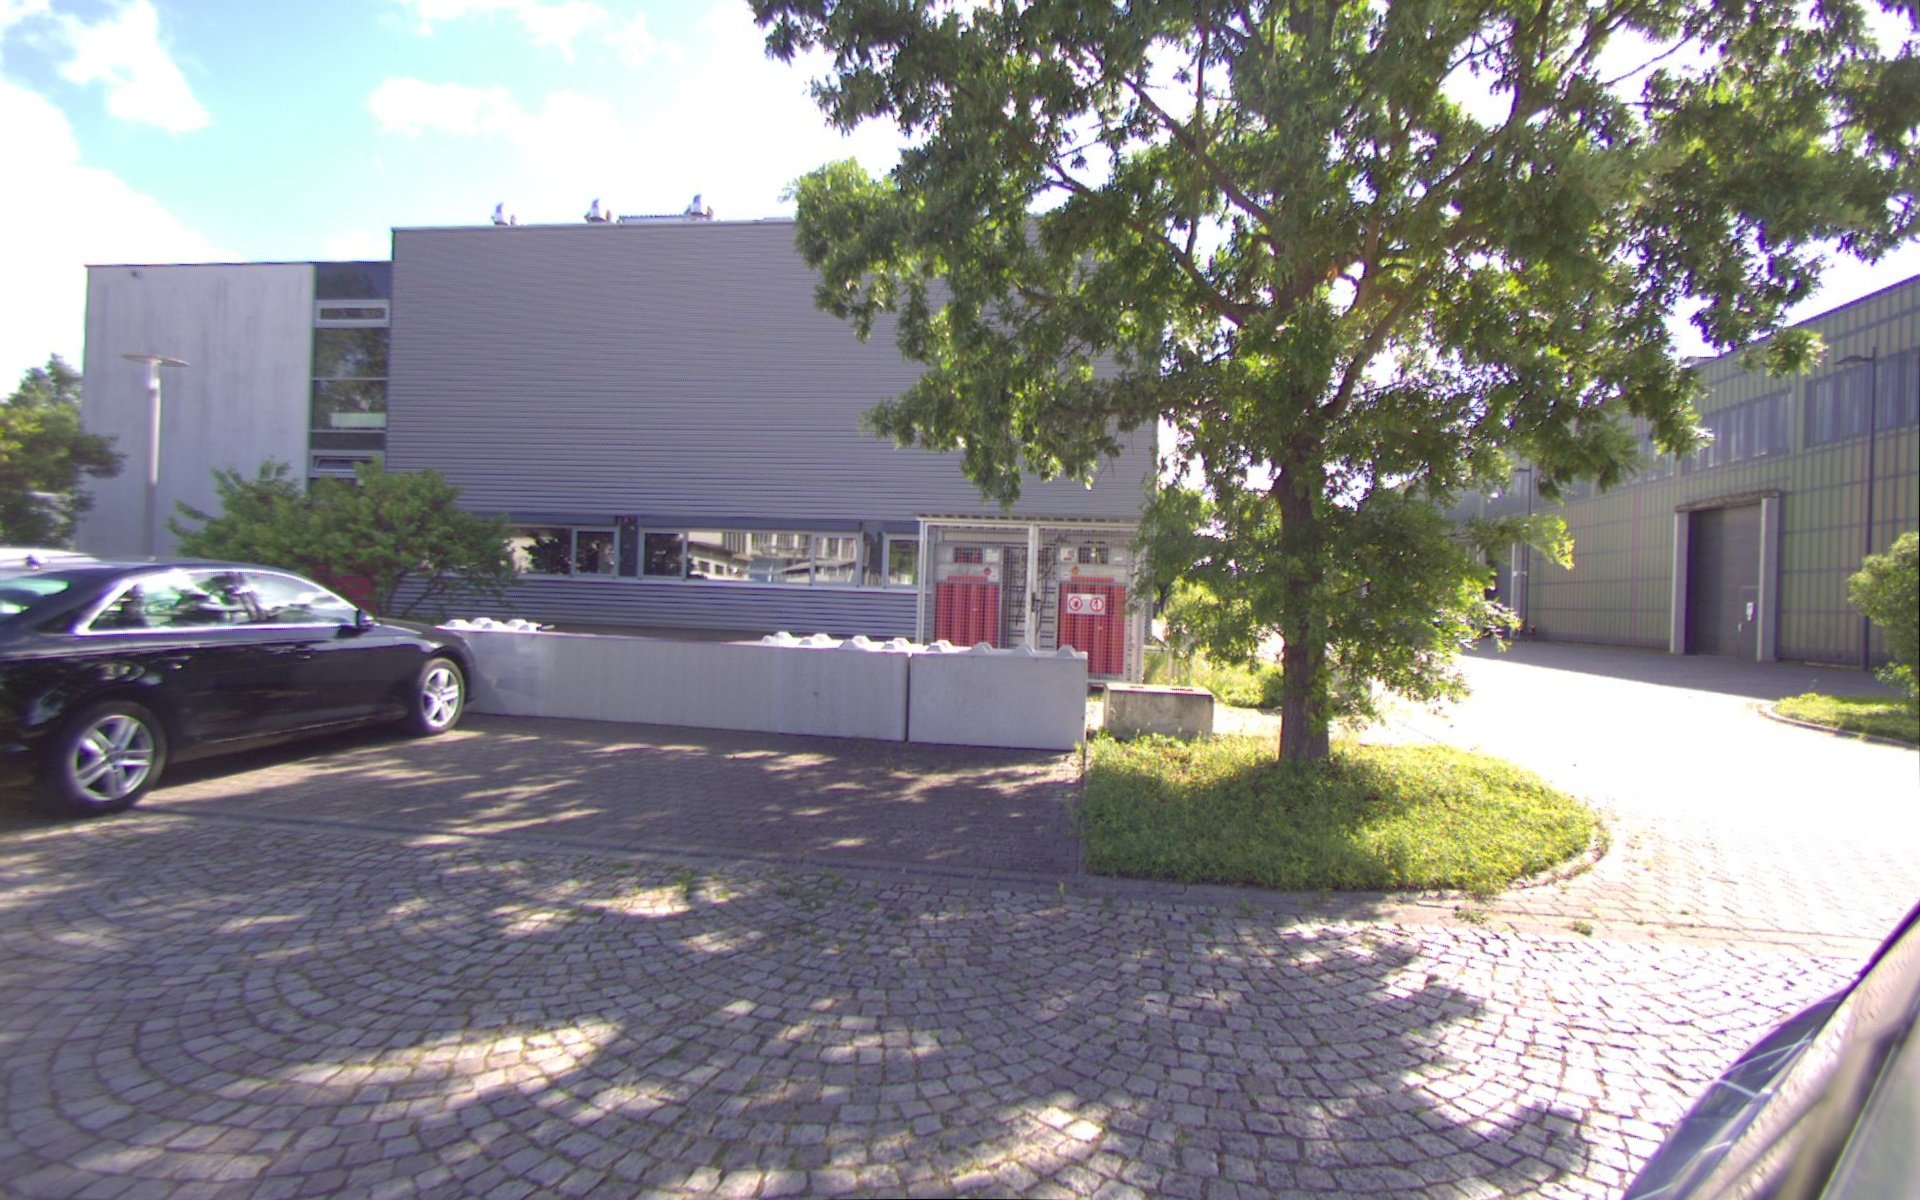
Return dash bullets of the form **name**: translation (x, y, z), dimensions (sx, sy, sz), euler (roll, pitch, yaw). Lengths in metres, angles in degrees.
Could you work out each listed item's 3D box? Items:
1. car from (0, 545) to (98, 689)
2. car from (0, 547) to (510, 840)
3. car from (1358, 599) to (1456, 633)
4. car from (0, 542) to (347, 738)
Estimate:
- **car**: translation (-10.274, 0.167, 8.926), dimensions (1.700, 1.389, 3.915), euler (2, 2, 9)
- **car**: translation (-5.329, 0.386, 7.144), dimensions (1.727, 1.440, 4.725), euler (2, 2, 7)
- **car**: translation (24.667, 0.878, 56.031), dimensions (4.503, 1.684, 1.995), euler (2, 0, 8)
- **car**: translation (-7.784, 0.246, 8.901), dimensions (1.666, 1.478, 4.135), euler (2, 2, 13)
